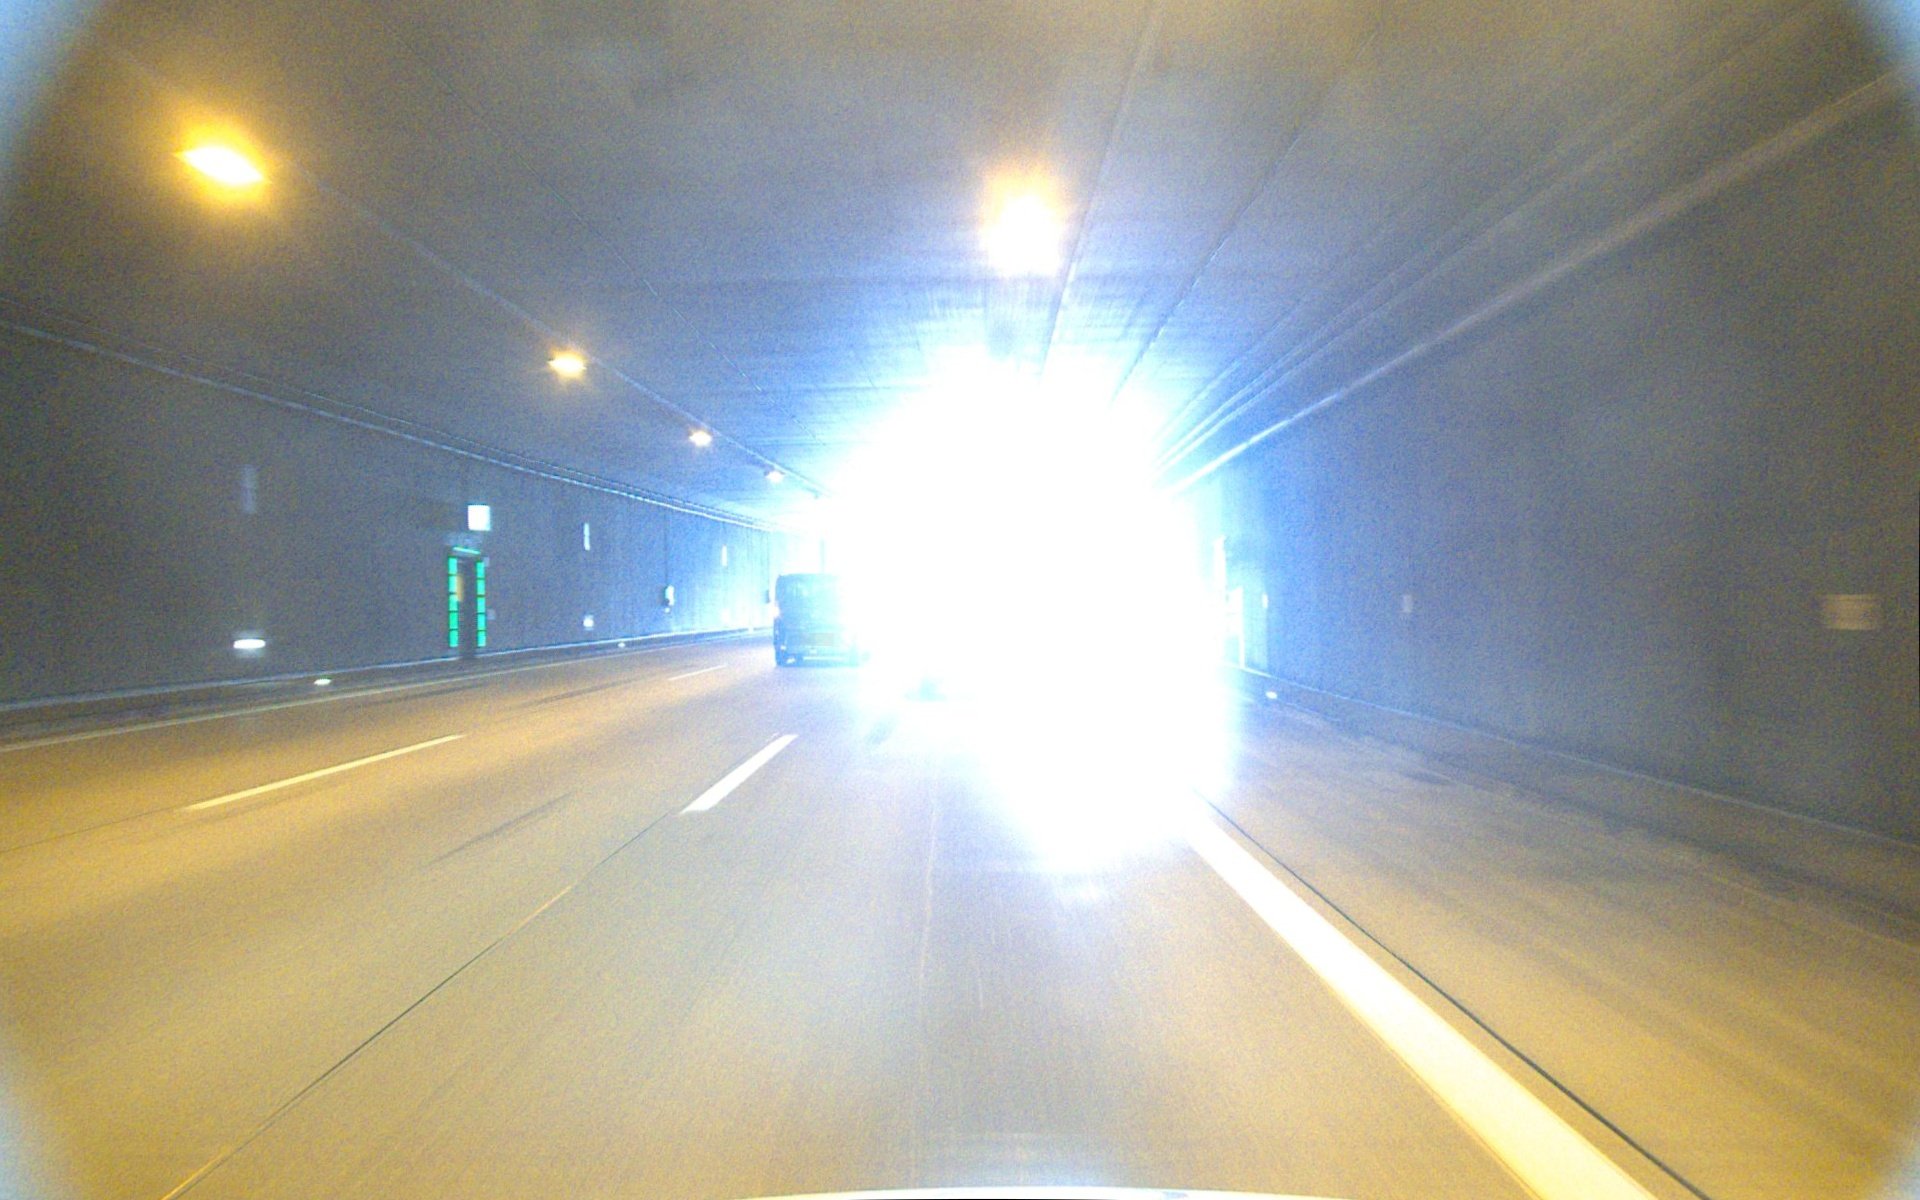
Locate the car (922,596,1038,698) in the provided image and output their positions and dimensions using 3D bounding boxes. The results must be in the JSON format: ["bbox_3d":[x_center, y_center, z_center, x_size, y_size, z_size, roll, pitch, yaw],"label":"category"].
[{"bbox_3d":[0.343,0.691,26.376,1.706,1.489,3.872,0,0,1],"label":"car"}]

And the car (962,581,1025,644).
[{"bbox_3d":[1.082,0.382,51.719,1.818,1.887,4.002,0,0,3],"label":"car"}]

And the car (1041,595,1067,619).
[{"bbox_3d":[7.003,0.520,123.188,1.890,1.671,4.001,0,-2,4],"label":"car"}]

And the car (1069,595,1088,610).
[{"bbox_3d":[14.649,0.301,204.452,1.951,1.660,4.003,0,-2,9],"label":"car"}]

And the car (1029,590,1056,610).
[{"bbox_3d":[7.659,0.004,153.250,1.951,1.660,4.003,0,-2,10],"label":"car"}]

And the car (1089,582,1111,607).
[{"bbox_3d":[12.971,-0.498,153.248,1.951,2.049,4.002,0,-2,5],"label":"car"}]

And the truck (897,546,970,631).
[{"bbox_3d":[-1.167,-0.517,77.327,2.976,3.737,7.395,0,0,2],"label":"truck"}]

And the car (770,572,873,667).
[{"bbox_3d":[-3.014,0.405,36.720,1.870,1.978,3.872,0,0,1],"label":"car"}]
